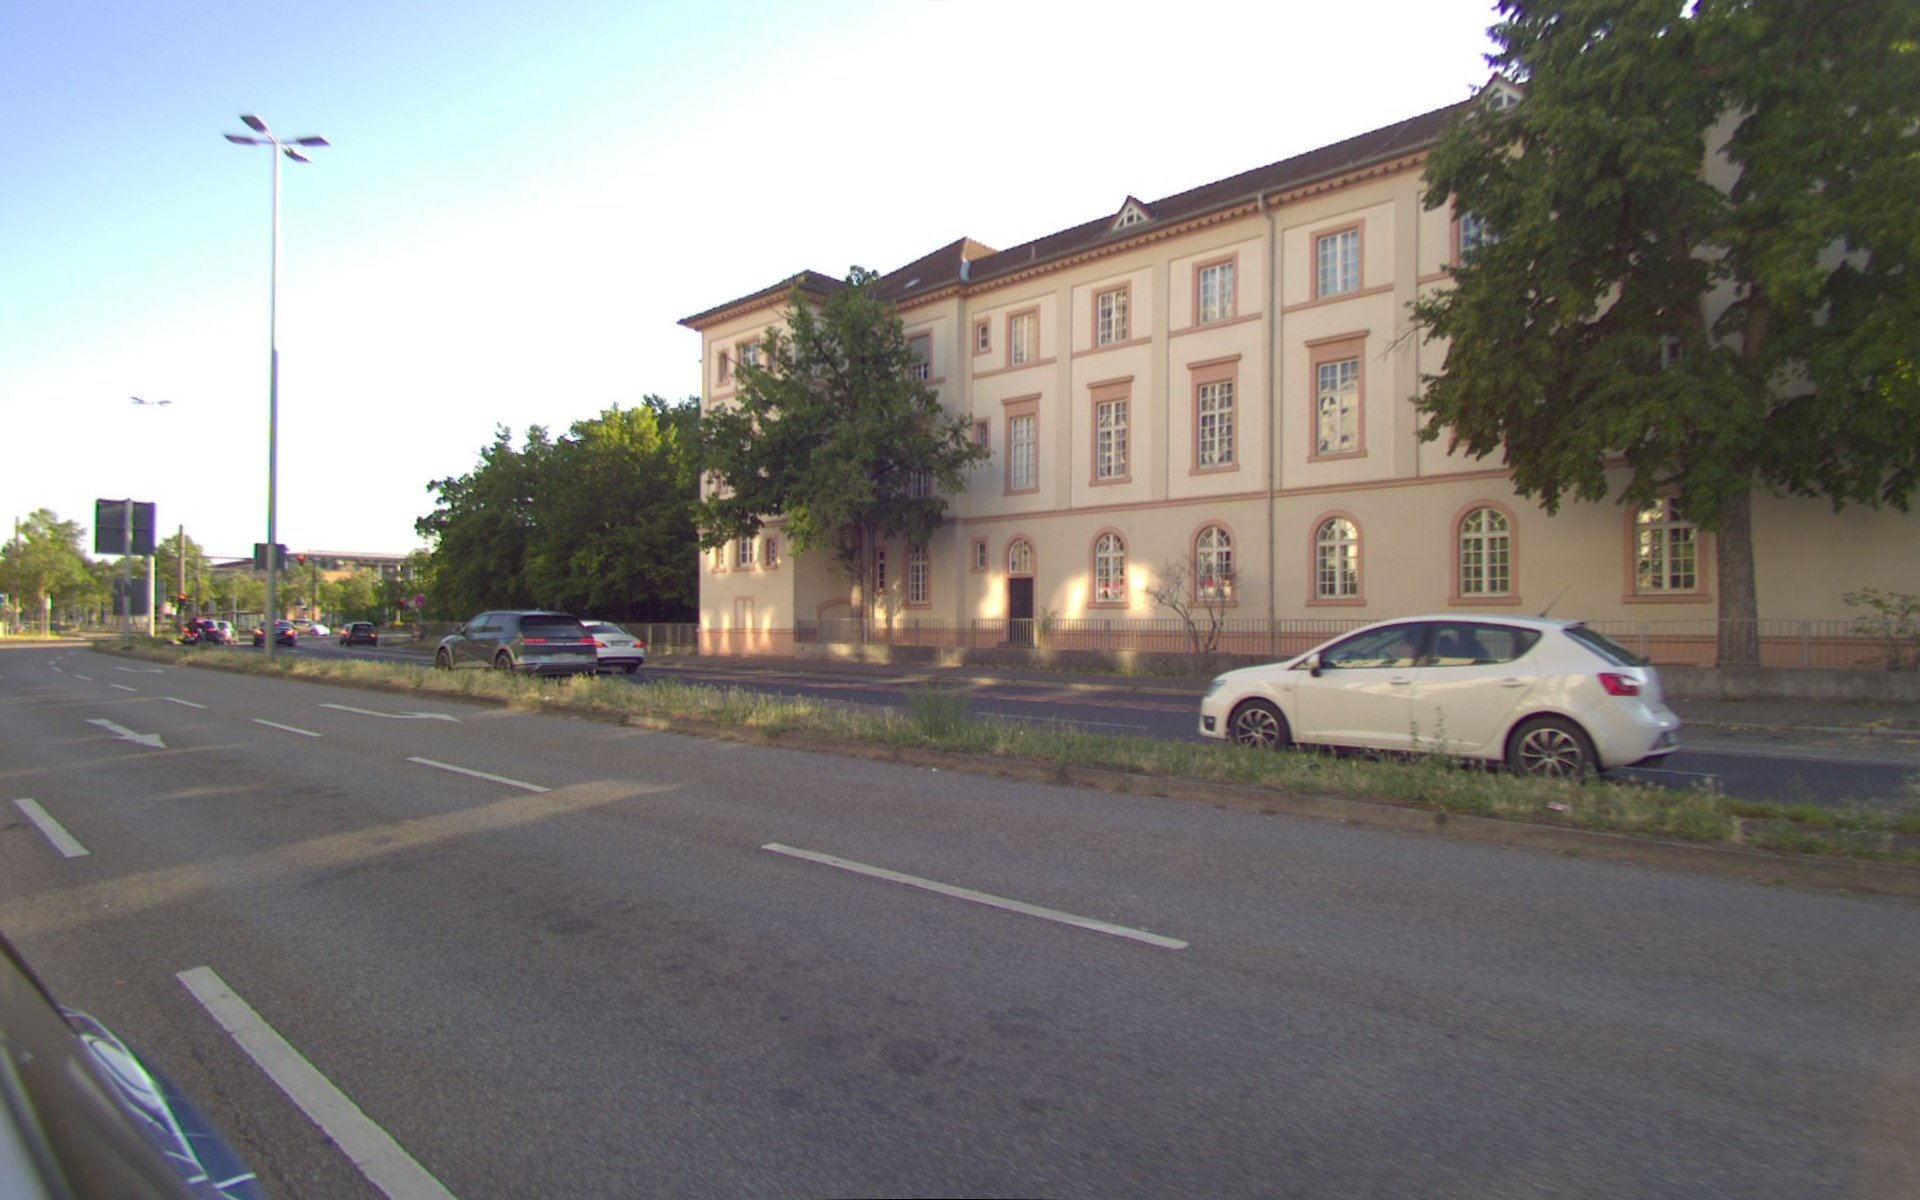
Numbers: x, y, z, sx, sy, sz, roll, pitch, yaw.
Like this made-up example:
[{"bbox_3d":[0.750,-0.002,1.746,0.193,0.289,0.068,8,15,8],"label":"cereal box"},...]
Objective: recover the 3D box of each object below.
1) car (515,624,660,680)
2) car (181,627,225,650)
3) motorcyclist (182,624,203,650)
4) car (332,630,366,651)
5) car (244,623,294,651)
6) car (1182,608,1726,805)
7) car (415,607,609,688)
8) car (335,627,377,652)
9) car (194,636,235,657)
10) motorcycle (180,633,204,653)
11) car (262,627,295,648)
[{"bbox_3d":[-10.407,1.399,28.141,4.443,1.424,1.972,-1,-3,43],"label":"car"},{"bbox_3d":[-44.714,2.259,59.816,1.695,1.306,4.389,1,-2,-32],"label":"car"},{"bbox_3d":[-42.283,2.014,55.763,0.840,1.409,1.064,1,-2,-32],"label":"motorcyclist"},{"bbox_3d":[-40.952,2.690,67.795,1.695,1.306,3.904,1,-2,-34],"label":"car"},{"bbox_3d":[-39.302,2.065,57.519,1.968,1.507,5.302,1,-2,-38],"label":"car"},{"bbox_3d":[4.313,0.820,9.249,4.178,1.403,1.667,-2,-2,41],"label":"car"},{"bbox_3d":[-9.894,0.982,22.168,4.896,1.590,1.973,-1,-2,41],"label":"car"},{"bbox_3d":[-37.080,2.389,62.110,1.829,1.475,4.009,1,-2,-37],"label":"car"},{"bbox_3d":[-48.023,2.977,65.254,1.695,1.306,4.261,1,-2,-30],"label":"car"},{"bbox_3d":[-42.320,2.356,55.796,0.847,1.116,2.477,1,-2,-32],"label":"motorcycle"},{"bbox_3d":[-43.292,2.365,64.303,1.695,1.329,3.904,1,-2,-34],"label":"car"}]
